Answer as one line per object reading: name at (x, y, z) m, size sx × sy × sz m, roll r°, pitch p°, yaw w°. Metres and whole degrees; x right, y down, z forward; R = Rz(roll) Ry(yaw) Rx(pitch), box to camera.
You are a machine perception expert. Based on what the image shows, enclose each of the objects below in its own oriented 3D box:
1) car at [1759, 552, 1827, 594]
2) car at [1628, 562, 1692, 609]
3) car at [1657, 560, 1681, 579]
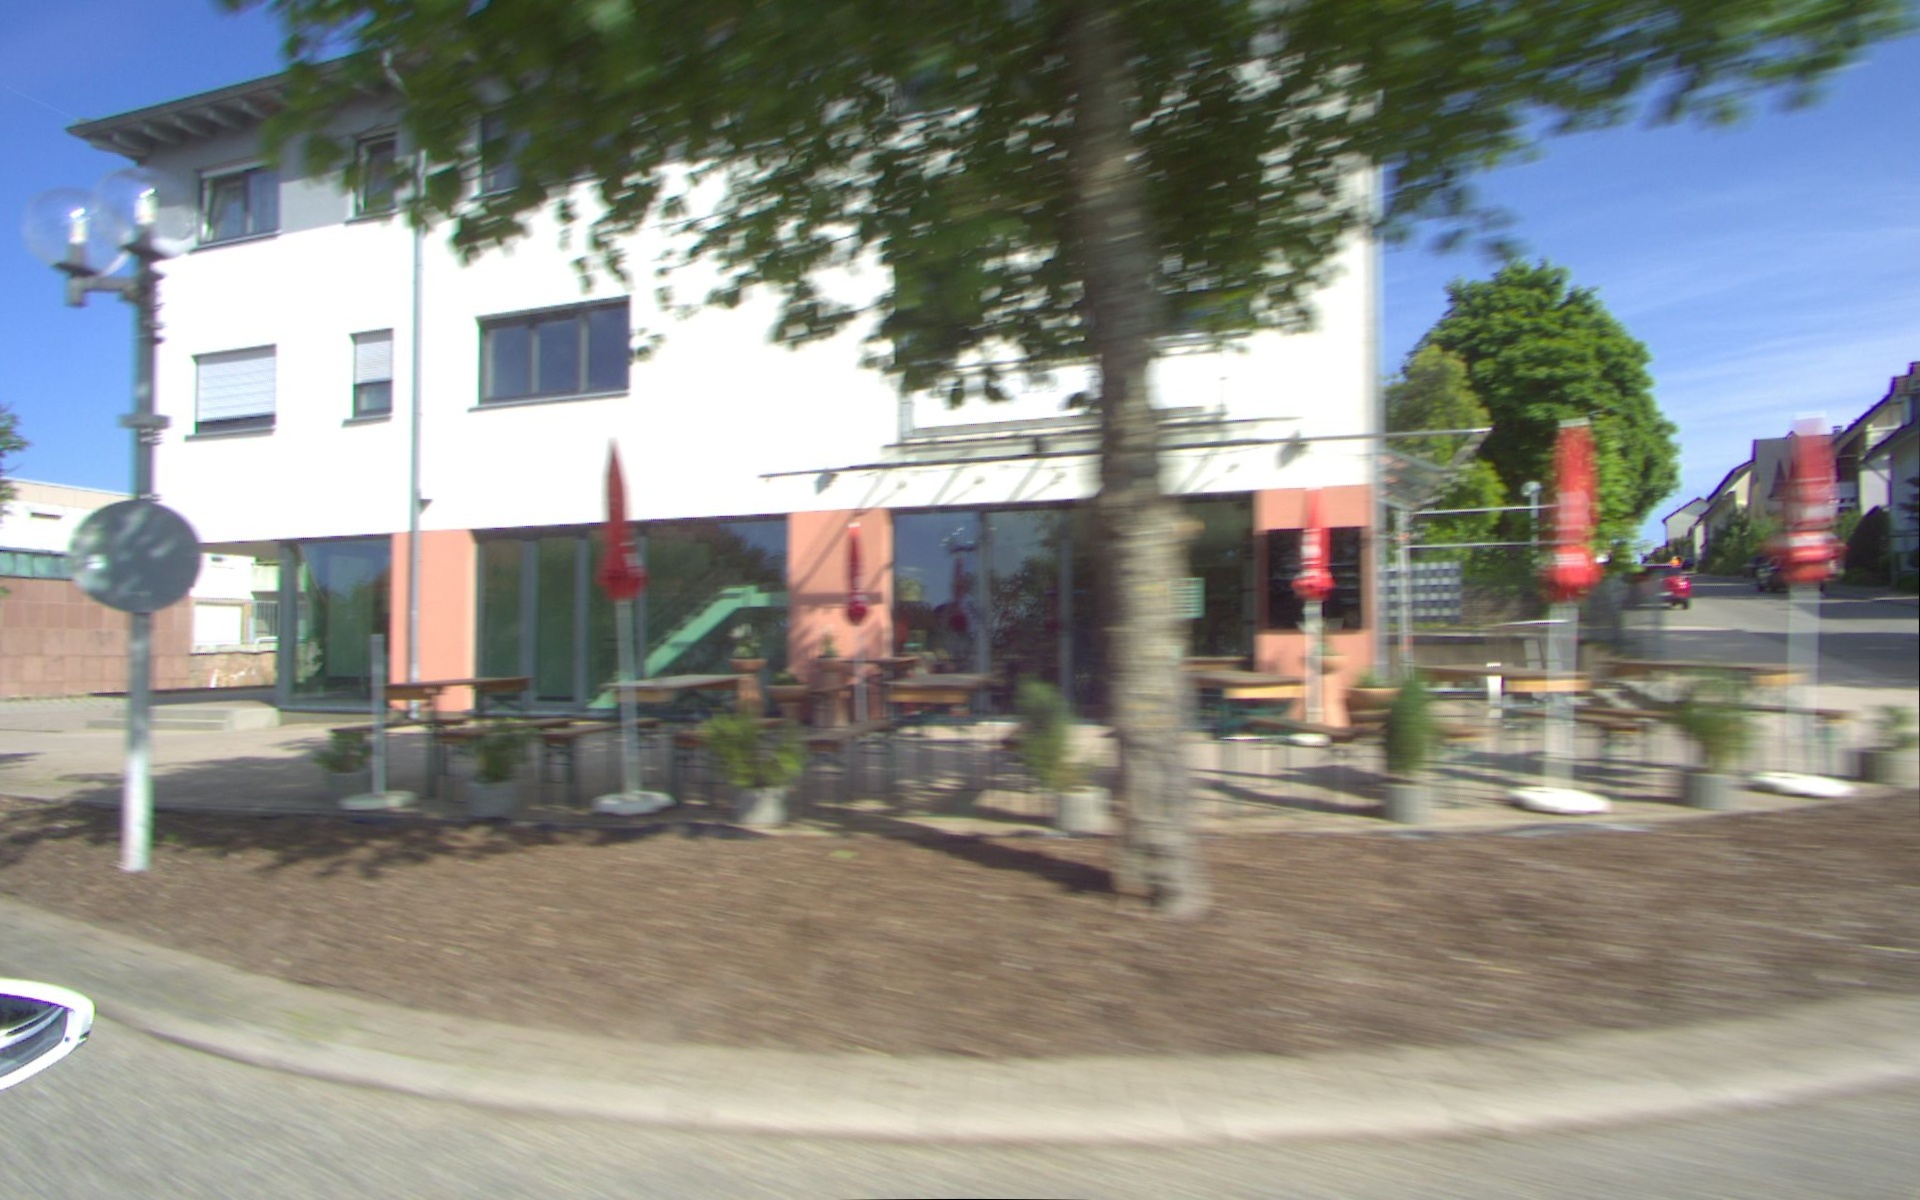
car at (37.653, -1.219, 45.350) m, size 1.973 × 1.763 × 3.975 m, roll 0°, pitch 2°, yaw 34°
car at (23.722, -0.509, 33.995) m, size 1.716 × 1.483 × 3.250 m, roll 0°, pitch 2°, yaw 34°
car at (59.186, -2.524, 83.604) m, size 1.350 × 1.468 × 2.765 m, roll 1°, pitch 1°, yaw 31°
